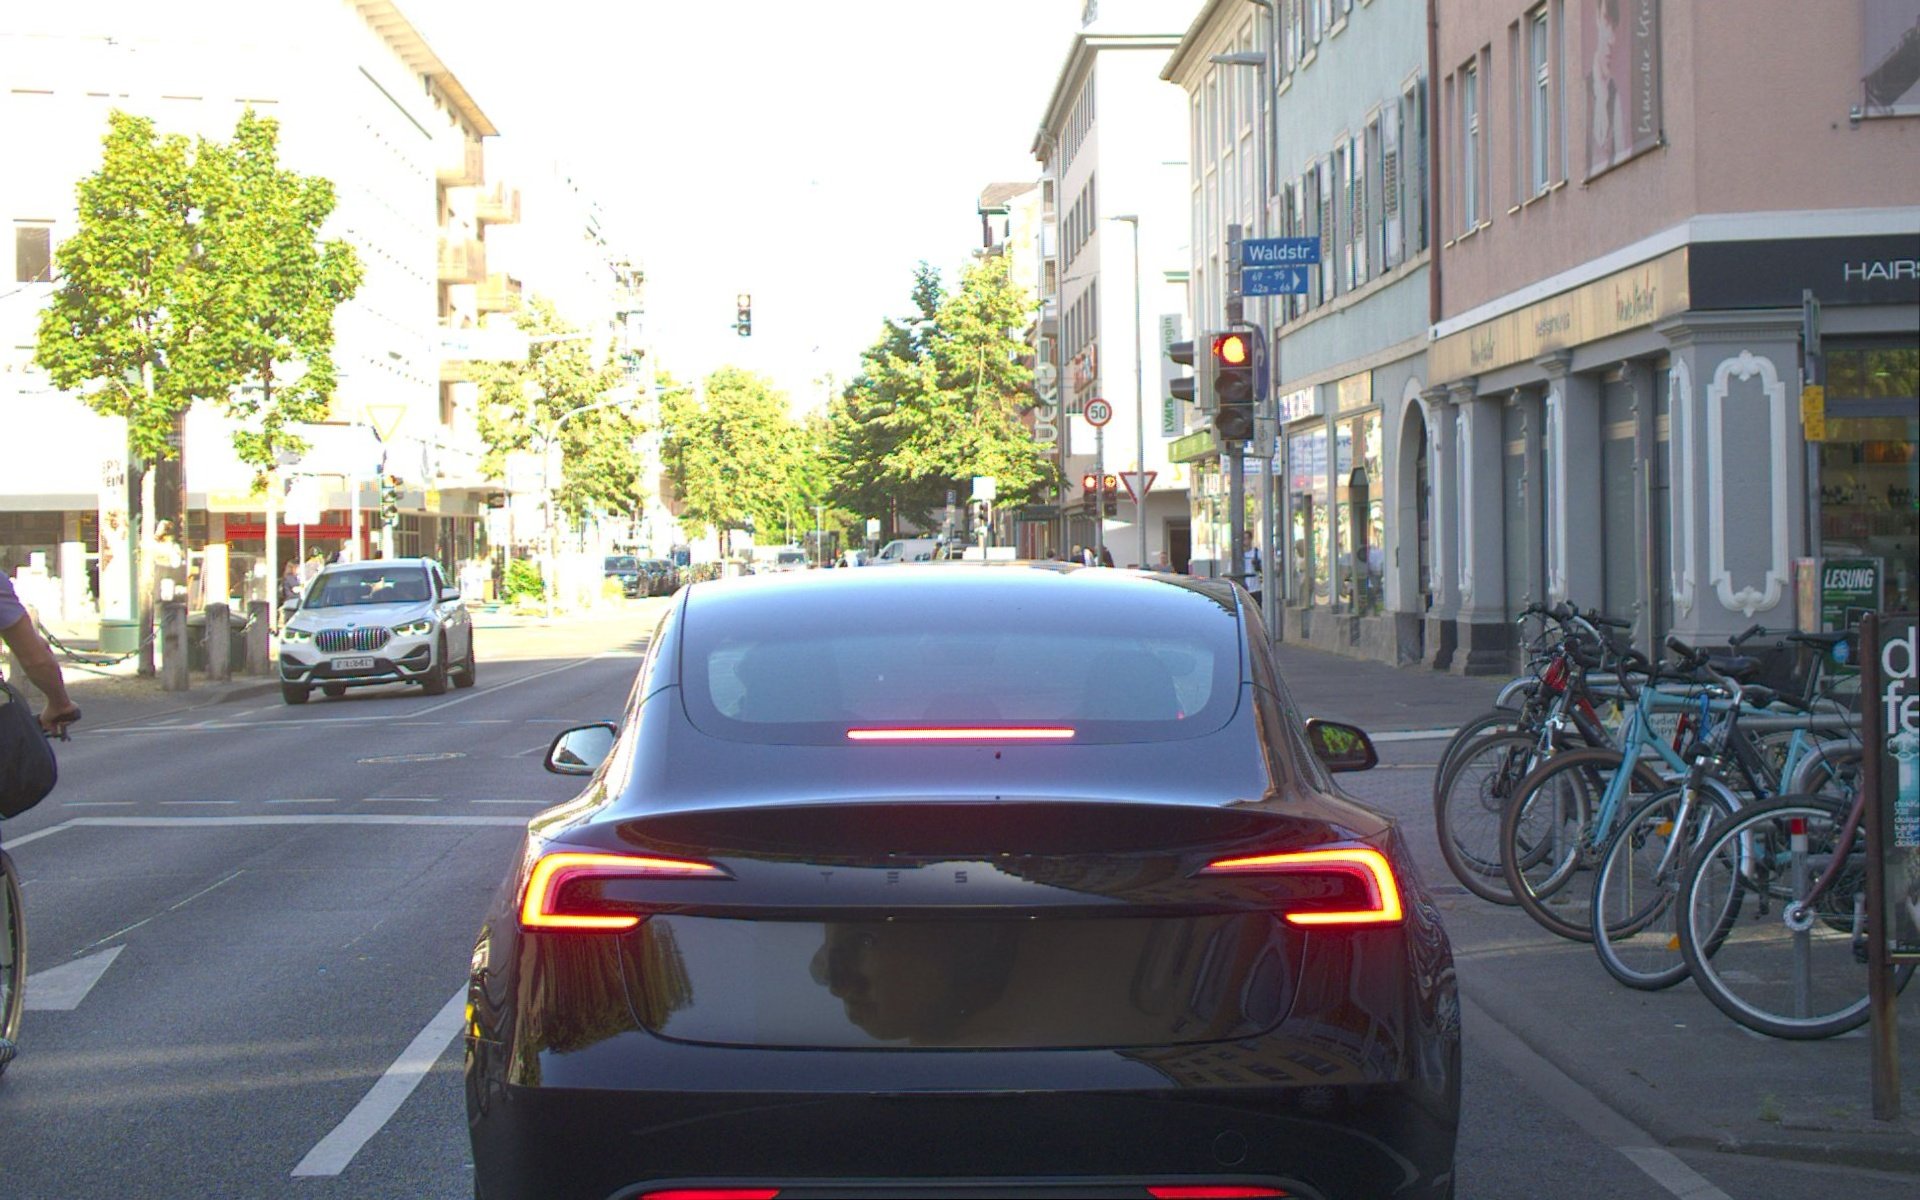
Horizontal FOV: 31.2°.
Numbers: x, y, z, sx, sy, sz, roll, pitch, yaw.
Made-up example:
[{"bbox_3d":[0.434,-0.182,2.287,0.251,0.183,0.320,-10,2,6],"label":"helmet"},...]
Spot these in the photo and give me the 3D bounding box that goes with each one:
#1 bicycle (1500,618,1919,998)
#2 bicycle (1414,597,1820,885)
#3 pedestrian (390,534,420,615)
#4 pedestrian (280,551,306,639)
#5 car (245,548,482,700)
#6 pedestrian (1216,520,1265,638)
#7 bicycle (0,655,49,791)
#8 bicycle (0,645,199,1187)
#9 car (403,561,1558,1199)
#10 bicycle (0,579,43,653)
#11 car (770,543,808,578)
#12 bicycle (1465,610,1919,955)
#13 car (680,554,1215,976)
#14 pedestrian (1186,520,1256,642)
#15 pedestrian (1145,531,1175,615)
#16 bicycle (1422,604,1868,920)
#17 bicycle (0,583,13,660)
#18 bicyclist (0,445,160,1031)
[{"bbox_3d":[2.628,0.661,11.198,1.627,1.156,0.433,-2,1,-1],"label":"bicycle"},{"bbox_3d":[2.807,0.596,14.760,1.628,1.156,0.433,-2,1,1],"label":"bicycle"},{"bbox_3d":[-13.829,-0.636,85.650,0.626,2.007,0.707,0,1,-1],"label":"pedestrian"},{"bbox_3d":[-12.140,-0.094,62.550,0.385,1.586,0.706,0,1,-5],"label":"pedestrian"},{"bbox_3d":[-6.811,0.238,39.672,1.993,1.535,4.000,-4,1,-1],"label":"car"},{"bbox_3d":[4.263,-0.325,52.279,0.704,1.777,0.533,0,1,-1],"label":"pedestrian"},{"bbox_3d":[-7.663,0.871,25.075,1.864,0.942,0.628,1,1,11],"label":"bicycle"},{"bbox_3d":[-2.580,0.759,9.002,0.796,1.228,1.774,0,1,-1],"label":"bicycle"},{"bbox_3d":[0.039,0.649,7.408,1.850,1.450,3.786,0,1,0],"label":"car"},{"bbox_3d":[-15.057,0.236,52.171,2.082,1.100,0.806,0,1,-1],"label":"bicycle"},{"bbox_3d":[-8.379,-1.953,169.085,1.829,1.718,4.000,0,1,-2],"label":"car"},{"bbox_3d":[2.684,0.646,12.374,1.627,1.156,0.433,-2,1,-1],"label":"bicycle"},{"bbox_3d":[-0.037,0.545,13.793,1.850,1.450,3.786,0,1,0],"label":"car"},{"bbox_3d":[3.956,-0.295,52.151,0.999,1.844,0.615,0,1,-1],"label":"pedestrian"},{"bbox_3d":[4.027,-0.549,69.127,0.570,1.685,0.387,0,1,-1],"label":"pedestrian"},{"bbox_3d":[2.684,0.627,13.531,1.627,1.156,0.433,-2,1,-1],"label":"bicycle"},{"bbox_3d":[-14.918,0.306,49.978,2.082,1.100,0.806,0,1,-1],"label":"bicycle"},{"bbox_3d":[-2.580,0.329,8.883,0.796,1.430,1.008,0,1,-1],"label":"bicyclist"}]
